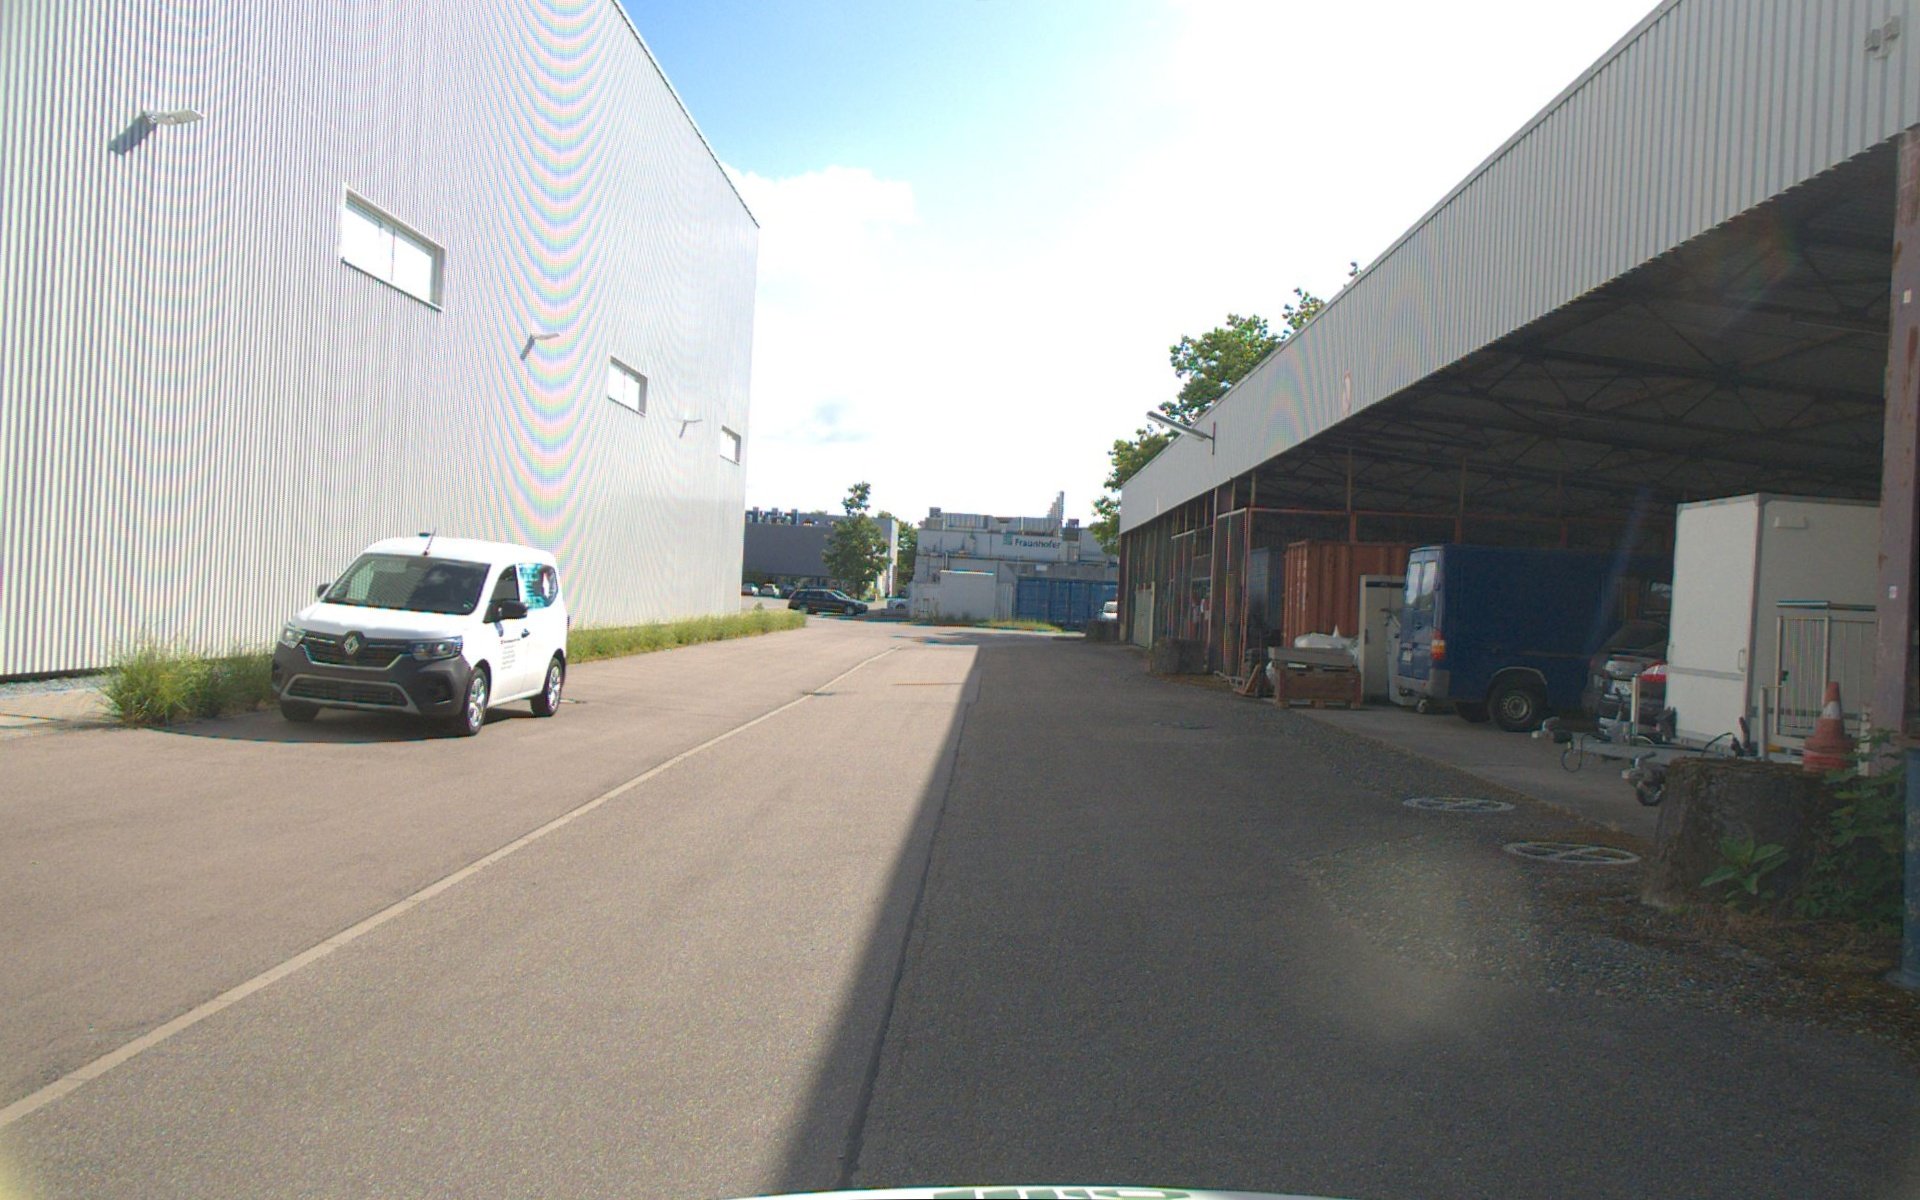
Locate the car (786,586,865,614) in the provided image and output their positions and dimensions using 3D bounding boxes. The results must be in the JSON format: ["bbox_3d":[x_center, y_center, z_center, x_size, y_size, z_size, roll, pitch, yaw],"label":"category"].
[{"bbox_3d":[-8.019,-0.007,98.788,4.432,1.534,1.909,2,0,3],"label":"car"}]

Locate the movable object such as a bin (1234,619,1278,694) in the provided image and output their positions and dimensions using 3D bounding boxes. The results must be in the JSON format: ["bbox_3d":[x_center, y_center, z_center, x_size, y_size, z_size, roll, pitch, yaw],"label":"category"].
[{"bbox_3d":[4.890,0.919,27.357,0.569,1.185,1.239,2,0,5],"label":"movable object such as a bin"}]

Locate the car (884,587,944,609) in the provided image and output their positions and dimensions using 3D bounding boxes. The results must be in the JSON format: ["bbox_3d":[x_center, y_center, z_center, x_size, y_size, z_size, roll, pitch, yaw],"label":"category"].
[{"bbox_3d":[-3.481,-0.143,126.339,4.432,1.534,1.909,2,0,2],"label":"car"}]

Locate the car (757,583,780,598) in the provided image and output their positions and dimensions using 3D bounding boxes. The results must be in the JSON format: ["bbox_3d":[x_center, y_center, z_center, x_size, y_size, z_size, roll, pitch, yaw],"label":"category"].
[{"bbox_3d":[-22.697,-1.096,196.107,2.148,1.766,4.000,1,0,0],"label":"car"}]

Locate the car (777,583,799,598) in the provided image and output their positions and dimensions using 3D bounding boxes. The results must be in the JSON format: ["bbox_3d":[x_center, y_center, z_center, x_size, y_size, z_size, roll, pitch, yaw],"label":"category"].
[{"bbox_3d":[-20.221,-1.096,194.368,2.148,1.766,4.000,1,0,0],"label":"car"}]

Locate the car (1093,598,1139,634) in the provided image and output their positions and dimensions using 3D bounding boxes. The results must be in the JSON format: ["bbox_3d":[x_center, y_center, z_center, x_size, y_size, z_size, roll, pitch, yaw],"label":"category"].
[{"bbox_3d":[8.053,0.805,85.843,1.953,1.613,4.173,2,2,0],"label":"car"}]

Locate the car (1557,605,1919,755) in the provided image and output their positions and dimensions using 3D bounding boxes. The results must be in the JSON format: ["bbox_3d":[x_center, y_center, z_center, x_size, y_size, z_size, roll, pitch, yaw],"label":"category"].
[{"bbox_3d":[9.033,0.881,18.666,3.908,1.498,1.787,2,0,-4],"label":"car"}]

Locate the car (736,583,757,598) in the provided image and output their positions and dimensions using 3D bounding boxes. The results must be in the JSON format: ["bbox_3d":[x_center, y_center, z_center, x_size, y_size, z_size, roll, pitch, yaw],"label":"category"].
[{"bbox_3d":[-25.236,-1.106,195.792,1.952,1.766,4.000,1,0,0],"label":"car"}]

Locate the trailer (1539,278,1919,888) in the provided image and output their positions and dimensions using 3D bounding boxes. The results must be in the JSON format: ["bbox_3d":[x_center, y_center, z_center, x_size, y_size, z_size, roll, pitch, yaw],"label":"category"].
[{"bbox_3d":[9.071,0.040,10.350,9.831,3.272,2.854,2,0,1],"label":"trailer"}]

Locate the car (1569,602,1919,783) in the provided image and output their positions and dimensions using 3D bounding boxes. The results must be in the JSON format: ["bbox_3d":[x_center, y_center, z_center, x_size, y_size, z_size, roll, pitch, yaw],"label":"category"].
[{"bbox_3d":[8.184,0.852,15.545,4.241,1.522,1.777,2,0,-2],"label":"car"}]

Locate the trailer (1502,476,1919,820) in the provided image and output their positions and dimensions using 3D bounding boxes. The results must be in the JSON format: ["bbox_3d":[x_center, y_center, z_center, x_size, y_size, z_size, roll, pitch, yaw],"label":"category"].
[{"bbox_3d":[6.895,0.375,12.918,4.711,2.433,1.828,2,0,6],"label":"trailer"}]

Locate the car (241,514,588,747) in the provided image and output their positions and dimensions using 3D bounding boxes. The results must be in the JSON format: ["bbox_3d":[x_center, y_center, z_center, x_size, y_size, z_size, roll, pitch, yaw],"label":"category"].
[{"bbox_3d":[-5.234,0.260,16.560,1.852,1.877,4.359,5,0,0],"label":"car"}]

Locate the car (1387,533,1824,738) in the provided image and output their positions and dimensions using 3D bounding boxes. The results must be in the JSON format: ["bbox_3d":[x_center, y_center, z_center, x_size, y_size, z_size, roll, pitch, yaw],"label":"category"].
[{"bbox_3d":[8.308,0.435,21.639,4.876,2.366,2.000,2,0,1],"label":"car"}]
